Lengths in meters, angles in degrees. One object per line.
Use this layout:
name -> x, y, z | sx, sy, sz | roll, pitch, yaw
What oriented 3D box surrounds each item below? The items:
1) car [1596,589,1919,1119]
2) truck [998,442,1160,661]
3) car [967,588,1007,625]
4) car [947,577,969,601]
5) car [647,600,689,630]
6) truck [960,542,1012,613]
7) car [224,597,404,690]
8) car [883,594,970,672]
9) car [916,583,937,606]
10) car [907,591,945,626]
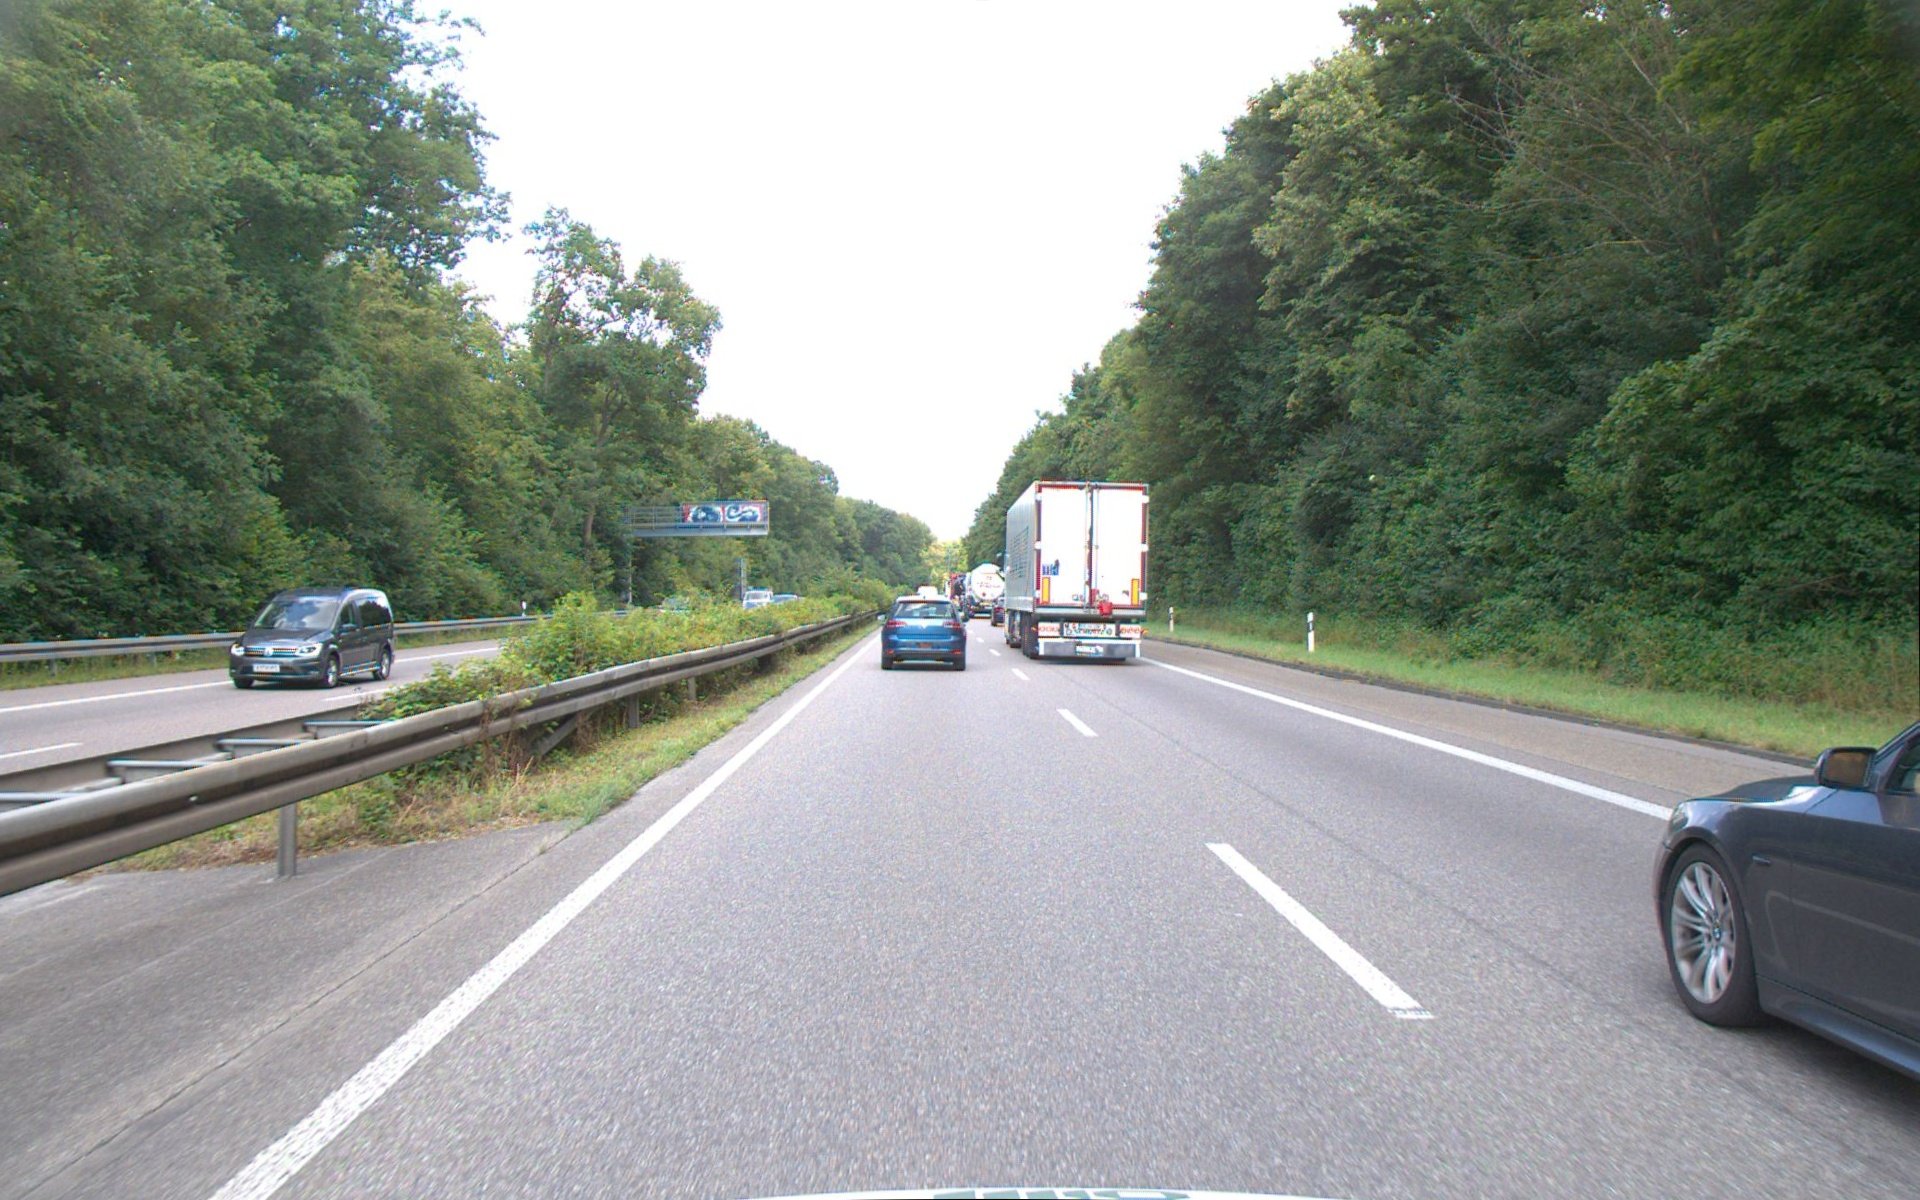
car -> 3.607, 0.738, 4.520 | 1.738, 1.501, 4.879 | 1, 0, -2
truck -> 2.742, -1.105, 41.846 | 3.176, 4.798, 11.005 | 0, 0, -1
car -> 1.302, 0.323, 81.627 | 1.850, 1.759, 3.999 | -1, 0, -1
car -> -0.176, -1.112, 166.938 | 1.954, 2.368, 4.439 | 0, 0, -4
car -> -14.137, 0.700, 80.211 | 1.506, 1.421, 3.510 | -1, 0, -2
truck -> 1.640, -1.370, 111.360 | 3.166, 4.463, 12.968 | 1, 0, 0
car -> -12.265, 0.767, 31.730 | 1.724, 1.621, 4.632 | 1, 0, -2
car -> -0.711, 0.639, 34.383 | 1.671, 1.495, 3.999 | 1, 0, -2
car -> -3.396, -0.540, 169.231 | 1.954, 2.294, 4.439 | -1, 0, -4
car -> -1.488, 0.365, 73.921 | 1.631, 1.526, 4.151 | 1, 0, -1
